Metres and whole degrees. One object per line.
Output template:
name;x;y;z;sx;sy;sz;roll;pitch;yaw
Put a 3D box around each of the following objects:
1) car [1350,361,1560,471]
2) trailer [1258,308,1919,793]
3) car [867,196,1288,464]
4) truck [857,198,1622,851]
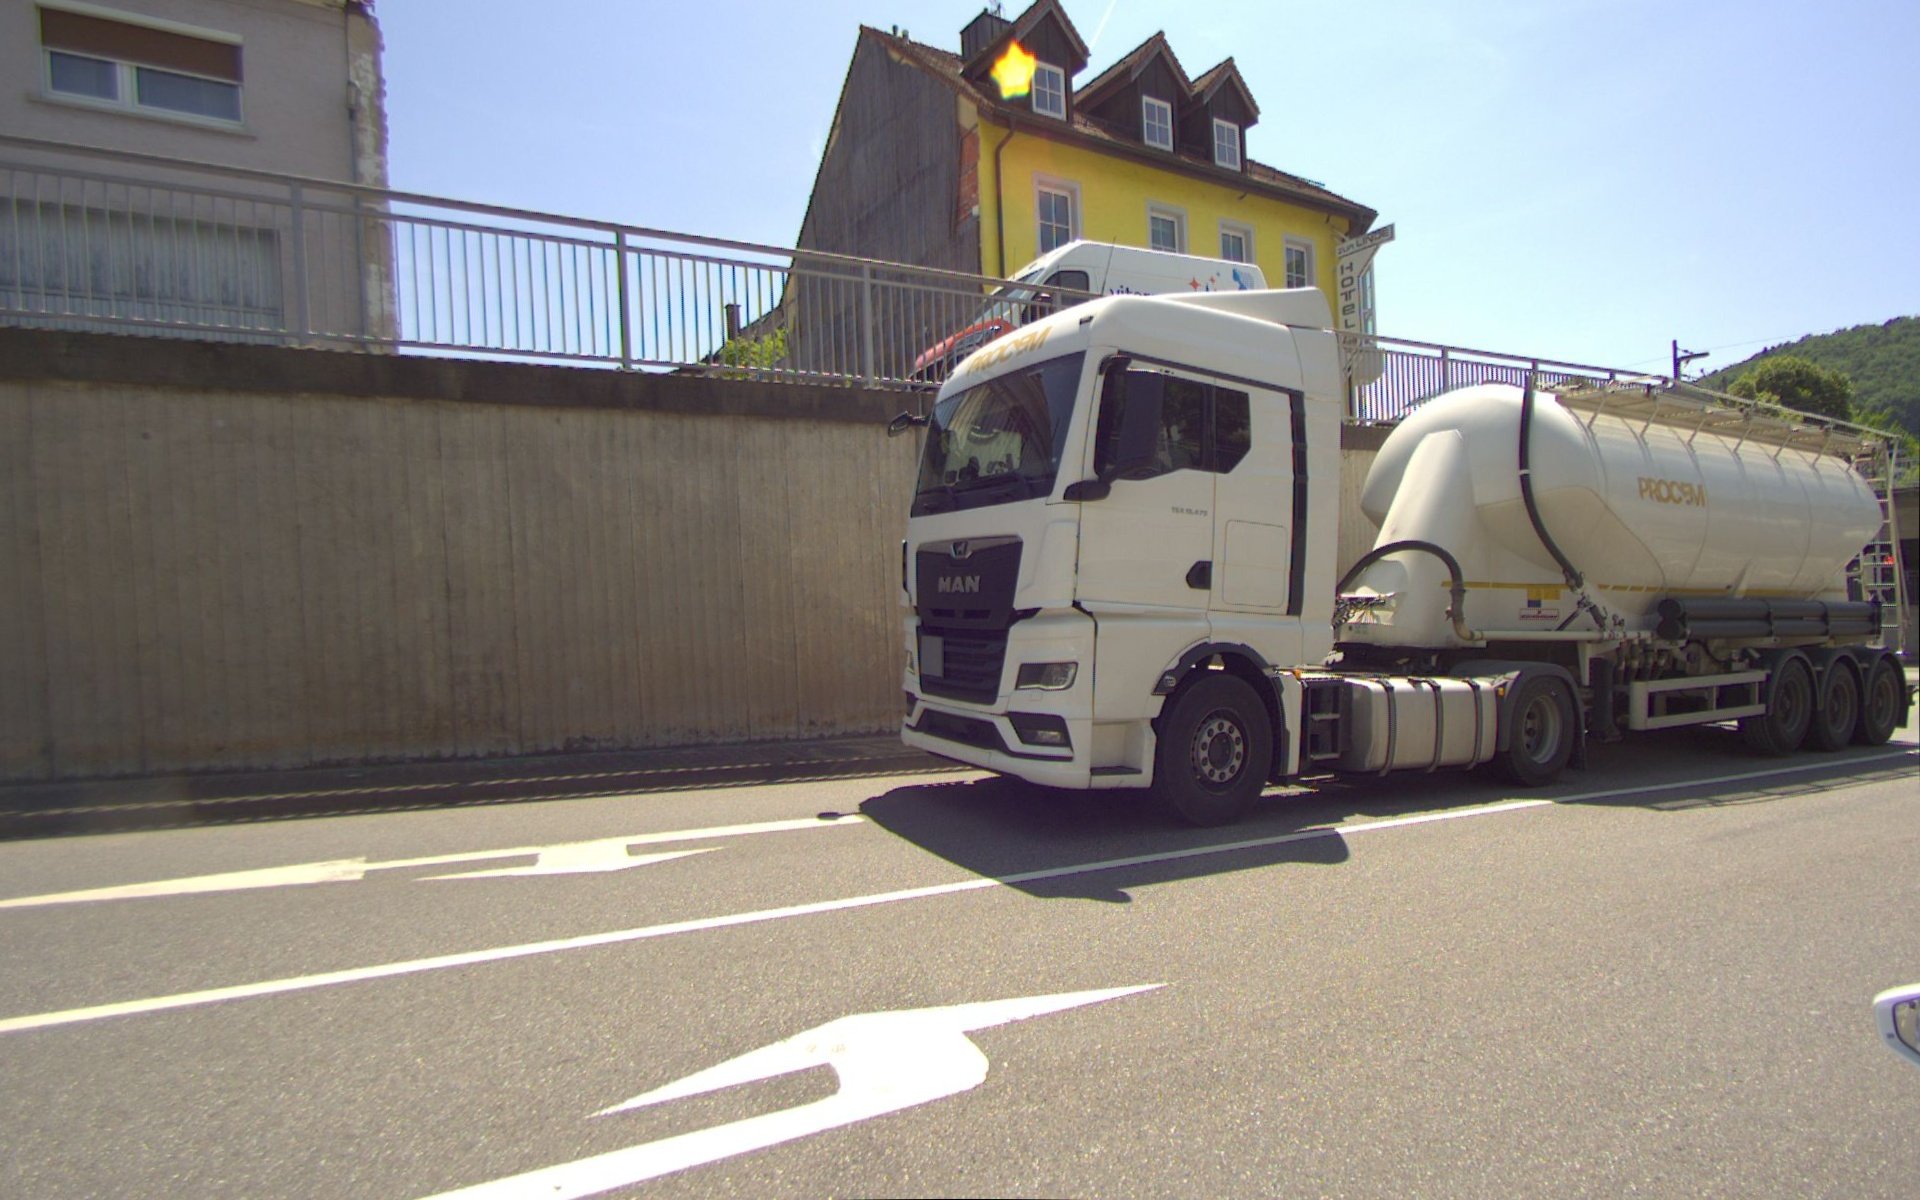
car;9.032;-3.241;18.242;3.999;1.521;1.609;-3;2;-33
trailer;7.798;-0.310;11.782;9.235;4.017;2.598;1;0;-30
car;1.725;-3.343;13.615;5.596;2.571;2.054;-3;2;-32
truck;2.637;-0.380;8.809;6.502;3.912;2.649;1;0;-30
